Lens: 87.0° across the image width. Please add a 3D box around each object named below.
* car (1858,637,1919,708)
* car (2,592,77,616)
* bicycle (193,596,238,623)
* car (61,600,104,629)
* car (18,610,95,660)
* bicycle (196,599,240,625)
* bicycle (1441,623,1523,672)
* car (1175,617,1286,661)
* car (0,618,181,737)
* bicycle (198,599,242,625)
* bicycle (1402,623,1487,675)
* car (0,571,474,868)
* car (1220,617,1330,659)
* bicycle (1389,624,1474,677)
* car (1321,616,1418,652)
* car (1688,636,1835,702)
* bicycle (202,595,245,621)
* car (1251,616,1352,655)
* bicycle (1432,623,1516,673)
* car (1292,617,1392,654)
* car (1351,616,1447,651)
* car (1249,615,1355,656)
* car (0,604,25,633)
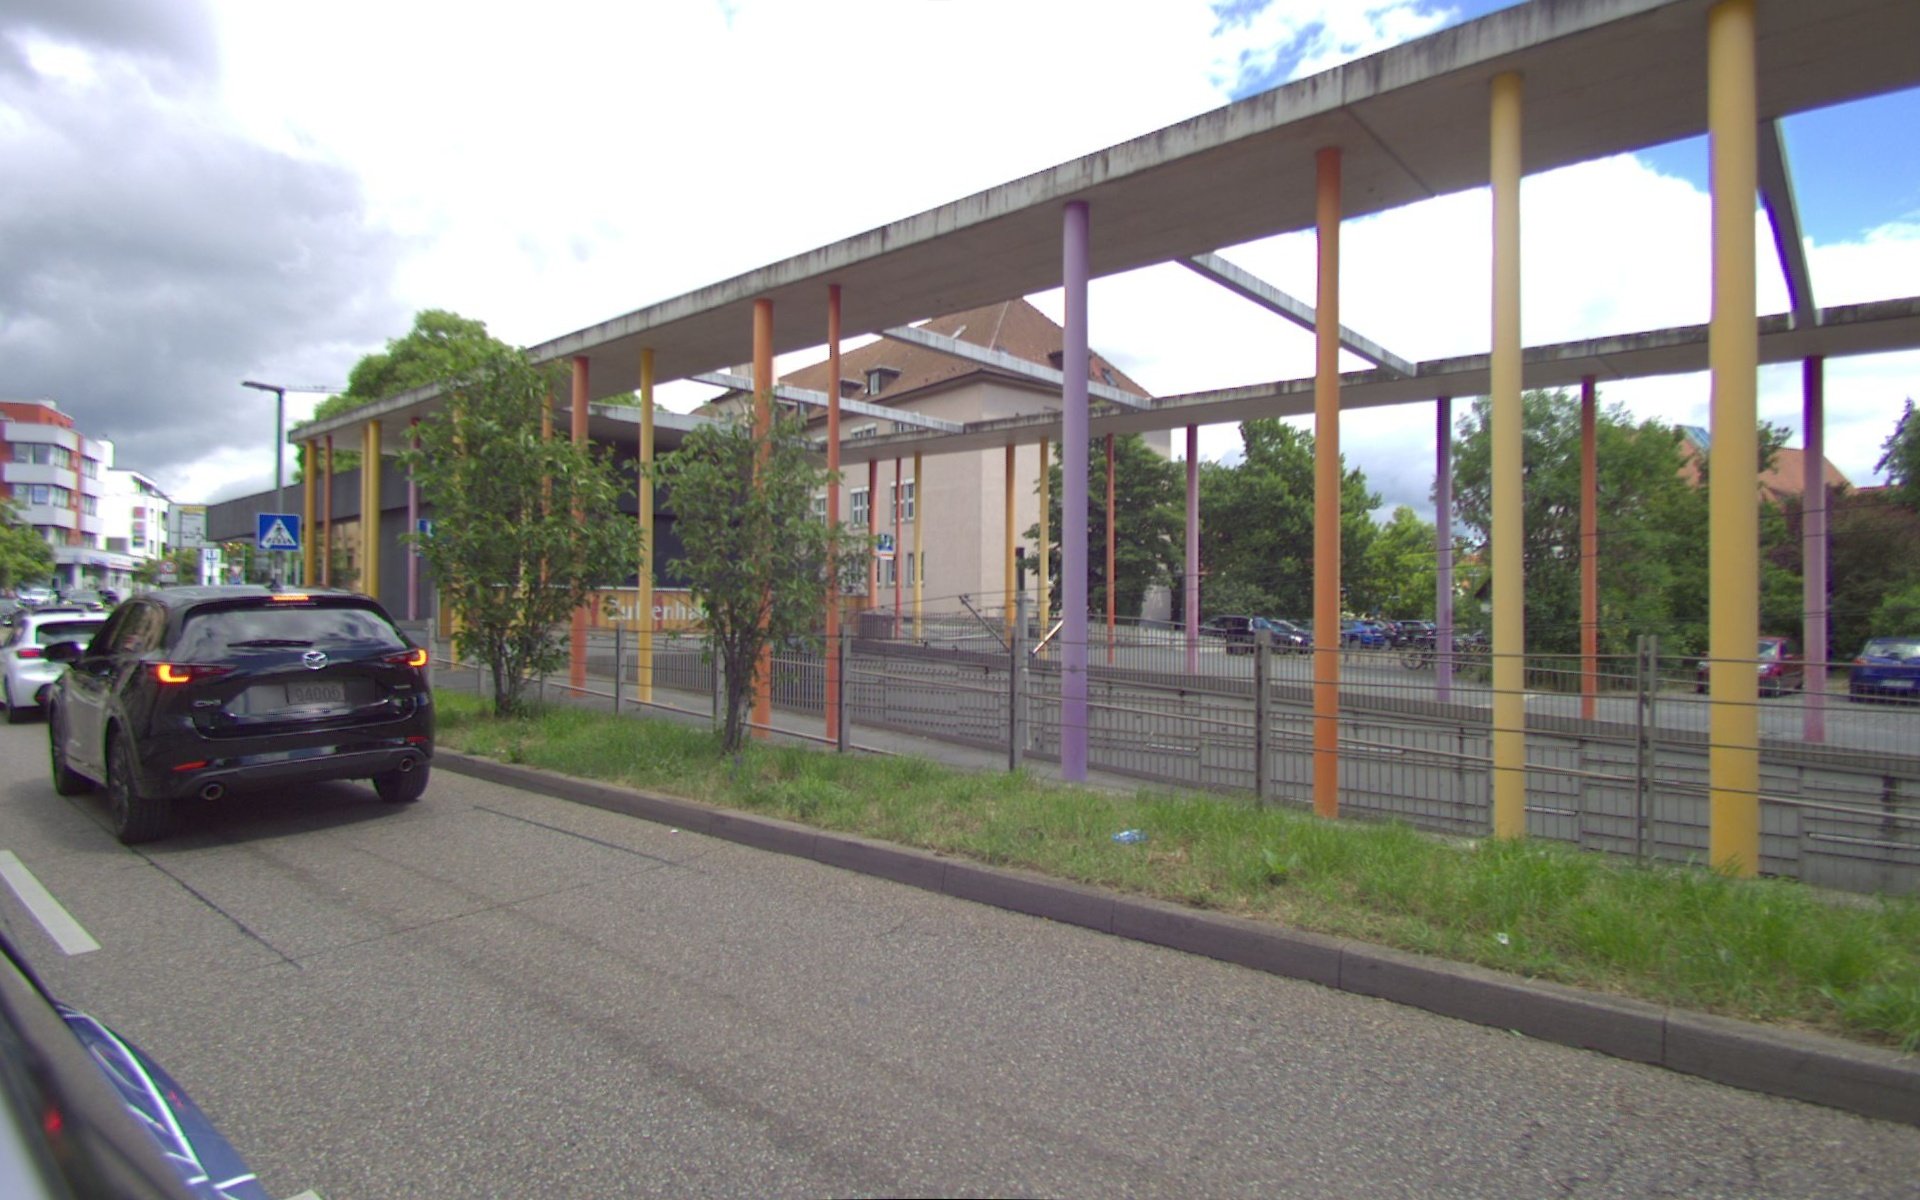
[{"bbox_3d":[22.337,1.634,23.262,3.933,1.411,1.574,0,1,-34],"label":"car"},{"bbox_3d":[-68.204,0.257,75.049,1.820,1.675,3.996,1,1,3],"label":"car"},{"bbox_3d":[-31.946,0.415,43.434,1.525,1.136,0.535,2,-2,-35],"label":"bicycle"},{"bbox_3d":[-52.370,0.825,60.435,1.776,1.592,4.008,0,1,-39],"label":"car"},{"bbox_3d":[-28.749,1.061,32.241,1.751,1.475,4.240,0,0,-42],"label":"car"},{"bbox_3d":[-32.501,0.533,44.334,1.525,1.136,0.535,2,-2,-35],"label":"bicycle"},{"bbox_3d":[14.888,1.336,28.914,0.524,1.278,2.065,0,1,-36],"label":"bicycle"},{"bbox_3d":[11.006,1.595,41.414,1.874,1.682,4.006,0,-2,-40],"label":"car"},{"bbox_3d":[-12.920,1.013,14.787,3.907,1.480,1.792,-1,0,42],"label":"car"},{"bbox_3d":[-32.844,0.526,44.944,1.525,1.136,0.535,2,-2,-35],"label":"bicycle"},{"bbox_3d":[13.078,1.308,27.392,0.524,1.278,2.065,0,1,-36],"label":"bicycle"},{"bbox_3d":[-5.740,0.672,7.742,4.622,1.617,1.900,-1,0,40],"label":"car"},{"bbox_3d":[13.190,1.594,42.585,1.874,1.682,4.006,0,-2,-40],"label":"car"},{"bbox_3d":[12.533,1.329,26.972,0.524,1.278,2.065,0,1,-36],"label":"bicycle"},{"bbox_3d":[20.097,1.678,49.761,1.874,1.682,4.006,0,-2,-40],"label":"car"},{"bbox_3d":[19.966,1.658,25.185,3.933,1.347,1.731,0,1,-34],"label":"car"},{"bbox_3d":[-33.274,0.379,45.713,1.525,1.136,0.535,2,-2,-35],"label":"bicycle"},{"bbox_3d":[15.741,1.641,46.755,1.874,1.682,4.006,0,-2,-40],"label":"car"},{"bbox_3d":[14.422,1.318,28.454,0.524,1.278,2.065,0,1,-36],"label":"bicycle"},{"bbox_3d":[18.072,1.684,47.961,1.874,1.682,4.006,0,-2,-40],"label":"car"},{"bbox_3d":[22.104,1.681,51.026,1.874,1.682,4.006,0,-2,-40],"label":"car"},{"bbox_3d":[14.969,1.567,44.422,1.874,1.682,4.006,0,-2,-40],"label":"car"},{"bbox_3d":[-49.850,0.927,52.015,1.967,1.424,4.748,2,-1,-35],"label":"car"}]
